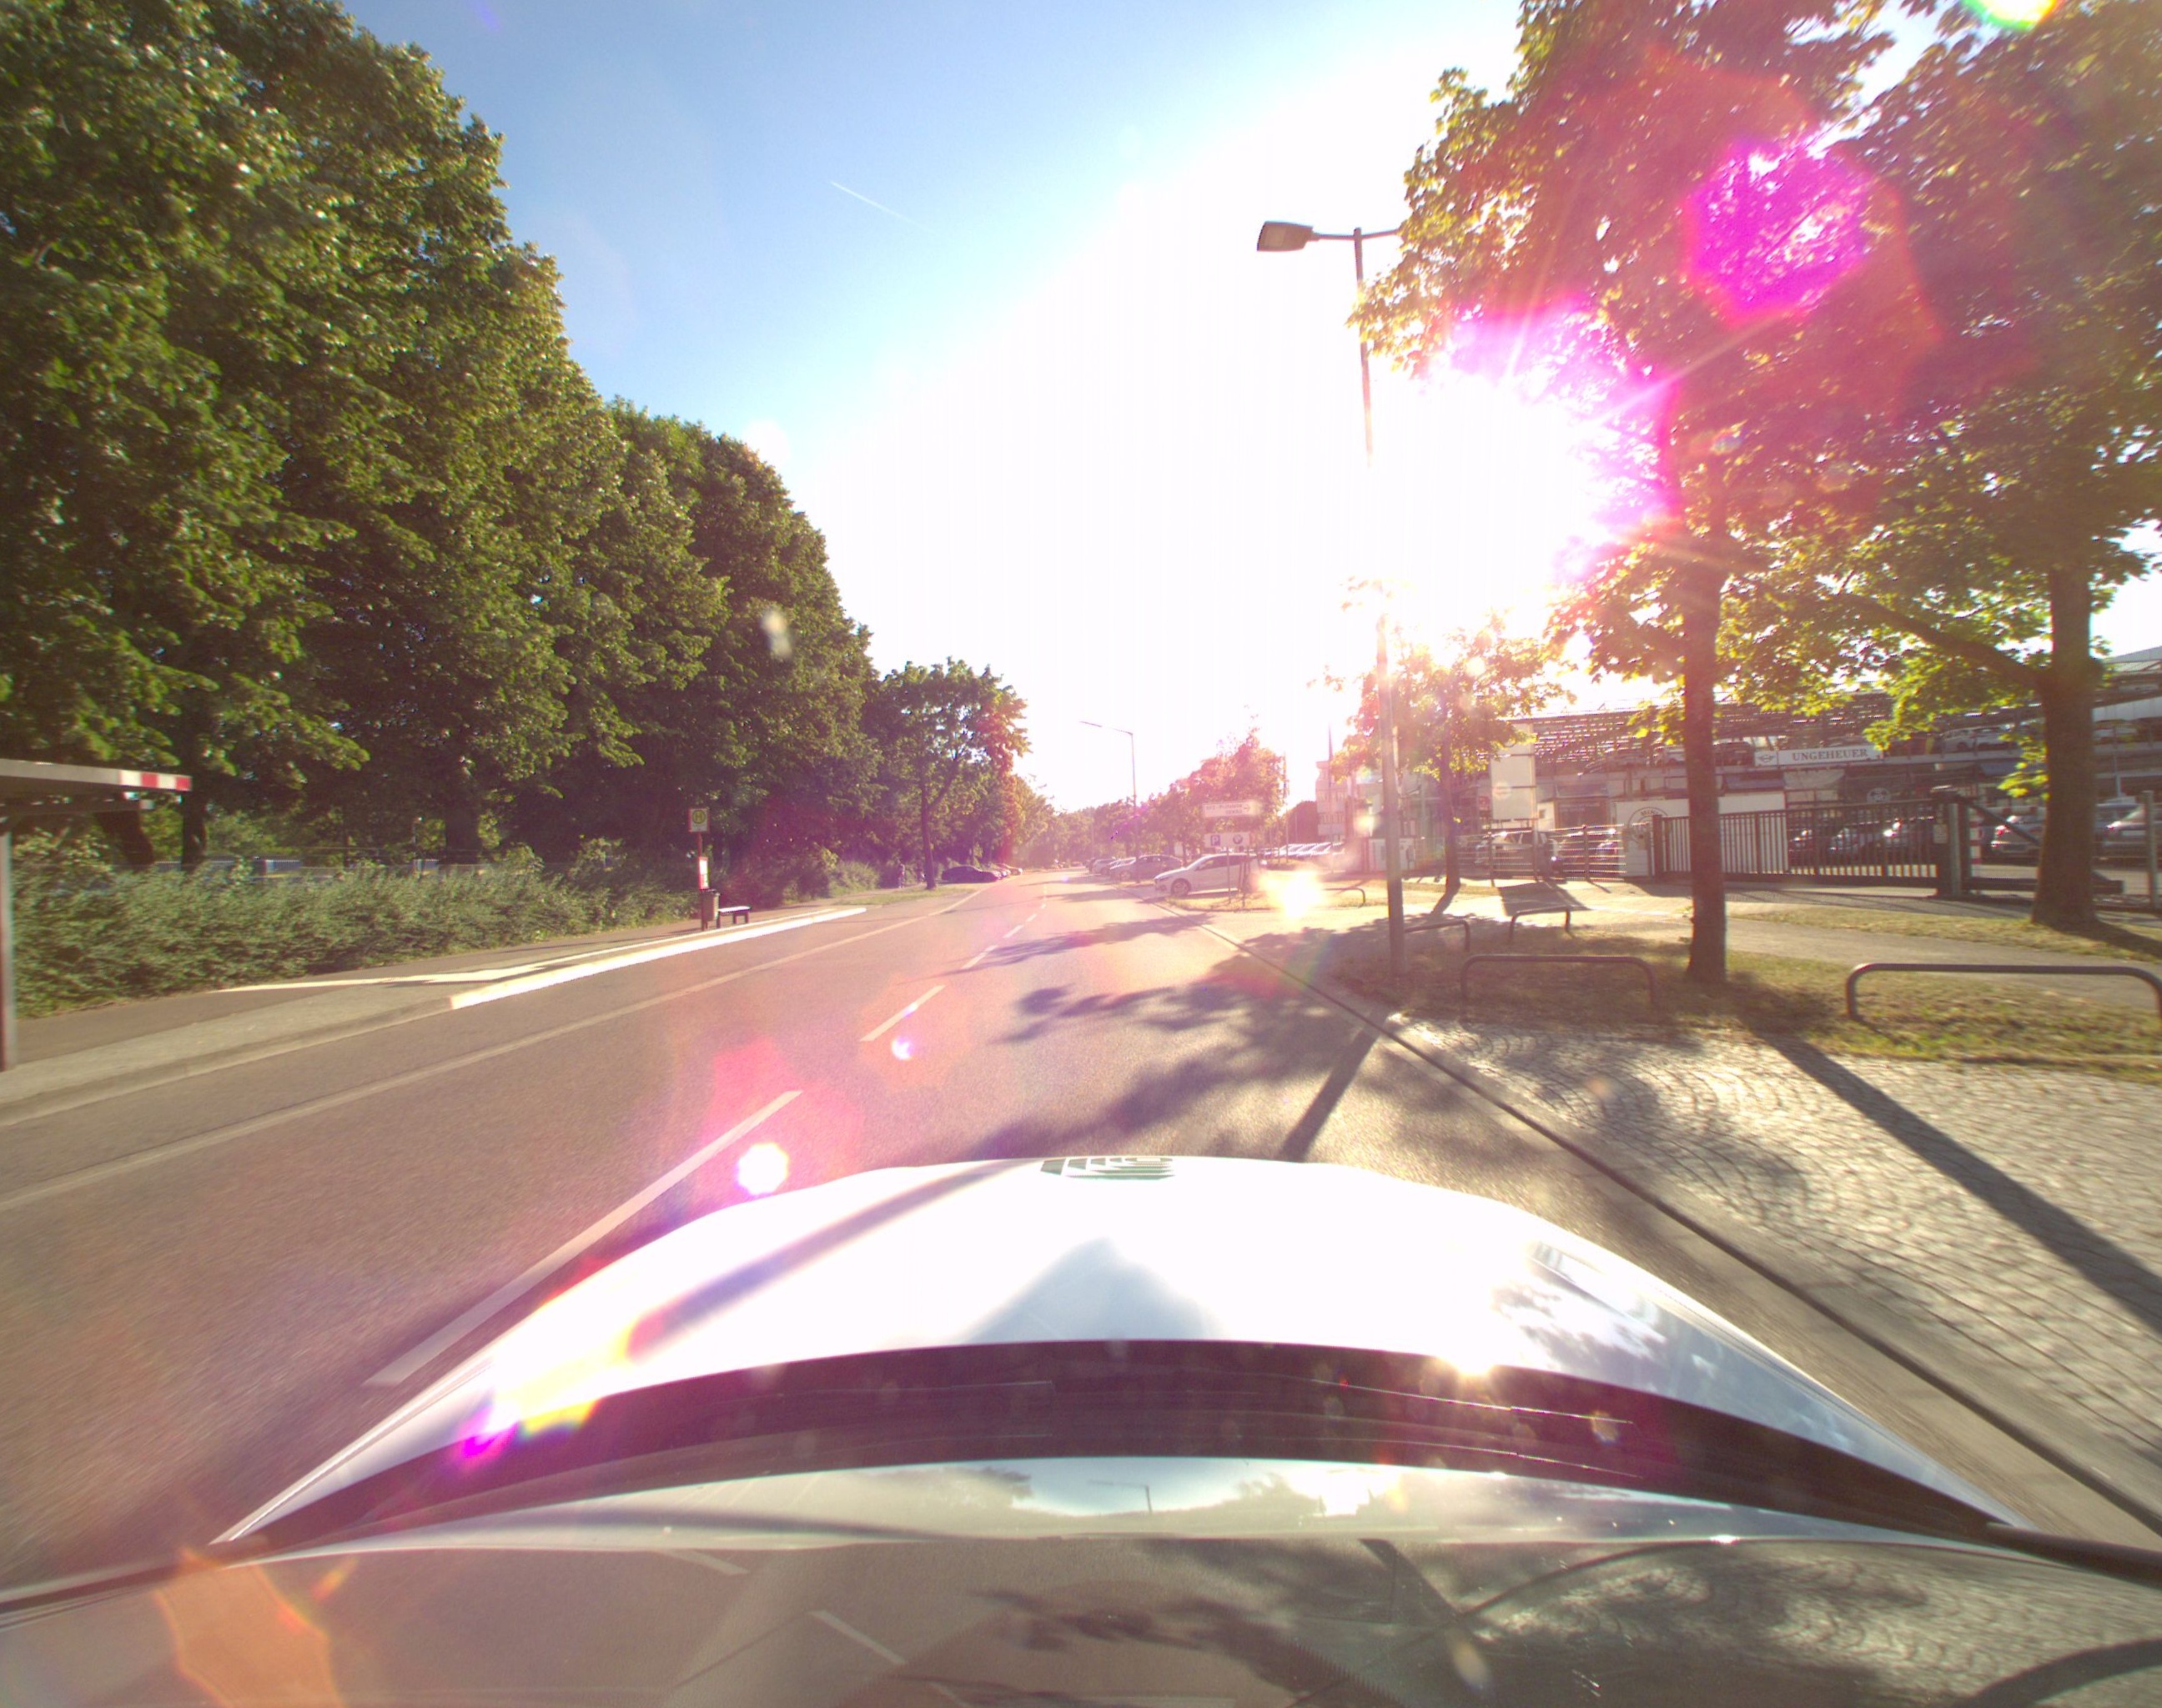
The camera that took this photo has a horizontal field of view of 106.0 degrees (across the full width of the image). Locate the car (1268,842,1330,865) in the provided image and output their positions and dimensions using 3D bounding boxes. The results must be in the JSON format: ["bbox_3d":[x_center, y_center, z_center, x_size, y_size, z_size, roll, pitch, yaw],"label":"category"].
[{"bbox_3d":[17.361,-0.045,64.841,4.617,1.574,1.981,-3,0,-29],"label":"car"}]

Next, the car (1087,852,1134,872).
[{"bbox_3d":[3.083,0.832,84.139,4.675,1.751,2.193,-3,0,3],"label":"car"}]

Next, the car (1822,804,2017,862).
[{"bbox_3d":[27.540,-0.652,26.932,3.955,1.579,2.009,-3,-3,17],"label":"car"}]

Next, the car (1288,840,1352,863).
[{"bbox_3d":[18.411,-0.203,62.643,4.617,1.574,1.981,-3,0,-29],"label":"car"}]

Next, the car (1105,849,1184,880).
[{"bbox_3d":[3.910,0.653,50.773,4.583,1.584,1.997,-4,0,-5],"label":"car"}]

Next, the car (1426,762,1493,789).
[{"bbox_3d":[26.610,-5.532,57.351,3.960,1.666,1.793,0,0,12],"label":"car"}]

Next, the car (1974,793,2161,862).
[{"bbox_3d":[25.466,-0.676,20.240,3.957,1.530,1.932,-3,0,15],"label":"car"}]

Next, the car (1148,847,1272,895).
[{"bbox_3d":[4.806,0.637,30.779,4.190,1.444,2.085,-4,0,-4],"label":"car"}]

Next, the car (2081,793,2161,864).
[{"bbox_3d":[25.196,-0.649,17.697,3.957,1.530,1.932,-3,0,15],"label":"car"}]

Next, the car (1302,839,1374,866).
[{"bbox_3d":[17.478,-0.126,55.432,4.618,1.574,1.981,-3,0,-29],"label":"car"}]

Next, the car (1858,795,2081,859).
[{"bbox_3d":[26.823,-0.757,24.788,3.955,1.579,2.170,-3,-3,17],"label":"car"}]

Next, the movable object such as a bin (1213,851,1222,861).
[{"bbox_3d":[18.624,0.283,111.371,1.112,1.268,1.039,-2,0,5],"label":"movable object such as a bin"}]

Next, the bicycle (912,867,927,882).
[{"bbox_3d":[-12.433,1.571,62.769,0.763,1.039,2.216,-3,0,-1],"label":"bicycle"}]

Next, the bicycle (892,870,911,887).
[{"bbox_3d":[-12.185,1.645,55.374,0.763,1.039,2.216,-3,0,-1],"label":"bicycle"}]

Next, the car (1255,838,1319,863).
[{"bbox_3d":[17.144,-0.266,67.665,4.742,1.690,2.389,-4,0,-29],"label":"car"}]

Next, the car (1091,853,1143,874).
[{"bbox_3d":[3.376,0.853,76.658,4.683,1.479,1.999,-4,4,-2],"label":"car"}]

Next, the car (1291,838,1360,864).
[{"bbox_3d":[17.553,-0.234,58.388,4.616,1.574,1.982,-4,0,-27],"label":"car"}]

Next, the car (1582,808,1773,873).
[{"bbox_3d":[16.980,-0.348,23.440,3.955,1.578,2.009,-3,0,17],"label":"car"}]

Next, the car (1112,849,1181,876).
[{"bbox_3d":[4.392,0.546,55.061,4.365,1.479,1.998,-4,0,-2],"label":"car"}]

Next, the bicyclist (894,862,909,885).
[{"bbox_3d":[-12.180,1.296,55.187,0.729,1.530,0.950,-3,0,-2],"label":"bicyclist"}]

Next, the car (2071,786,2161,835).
[{"bbox_3d":[42.134,-1.756,31.784,3.958,1.741,2.008,-3,0,14],"label":"car"}]

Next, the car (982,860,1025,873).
[{"bbox_3d":[-9.413,1.544,98.806,5.021,1.462,1.999,-1,0,-2],"label":"car"}]

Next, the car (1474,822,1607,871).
[{"bbox_3d":[16.998,-0.263,30.351,3.955,1.578,2.009,-3,0,17],"label":"car"}]

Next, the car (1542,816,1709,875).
[{"bbox_3d":[17.157,-0.258,25.893,3.955,1.578,2.009,-3,0,17],"label":"car"}]

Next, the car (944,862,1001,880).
[{"bbox_3d":[-9.050,1.387,68.256,4.640,1.422,1.914,-1,0,-4],"label":"car"}]

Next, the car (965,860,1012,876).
[{"bbox_3d":[-9.241,1.374,81.605,4.467,1.531,1.999,-1,0,-2],"label":"car"}]

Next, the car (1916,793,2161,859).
[{"bbox_3d":[26.412,-0.741,22.650,3.955,1.530,1.933,-3,0,17],"label":"car"}]

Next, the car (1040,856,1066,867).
[{"bbox_3d":[-5.635,1.444,164.060,4.980,2.020,2.178,-2,0,5],"label":"car"}]

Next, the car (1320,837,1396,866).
[{"bbox_3d":[17.893,-0.161,52.537,4.617,1.666,1.981,-2,0,-29],"label":"car"}]

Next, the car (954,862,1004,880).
[{"bbox_3d":[-9.220,1.515,74.099,4.273,1.531,1.999,-1,0,-1],"label":"car"}]

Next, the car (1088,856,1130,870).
[{"bbox_3d":[3.090,0.985,90.236,4.469,1.404,2.032,-3,0,-2],"label":"car"}]

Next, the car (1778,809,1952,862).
[{"bbox_3d":[28.038,-0.622,29.296,3.955,1.579,2.009,-3,-3,17],"label":"car"}]

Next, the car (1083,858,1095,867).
[{"bbox_3d":[1.574,1.683,160.062,1.983,1.717,4.007,-2,0,6],"label":"car"}]

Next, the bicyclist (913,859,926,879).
[{"bbox_3d":[-12.426,1.150,62.616,0.729,1.530,0.950,-3,0,-2],"label":"bicyclist"}]

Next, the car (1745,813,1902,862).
[{"bbox_3d":[28.605,-0.606,31.527,3.955,1.579,2.009,-3,-3,17],"label":"car"}]

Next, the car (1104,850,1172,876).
[{"bbox_3d":[4.040,0.644,58.150,4.613,1.456,1.998,-4,0,-2],"label":"car"}]

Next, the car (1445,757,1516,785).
[{"bbox_3d":[26.564,-5.510,54.252,3.960,1.666,1.793,0,0,12],"label":"car"}]

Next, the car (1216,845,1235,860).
[{"bbox_3d":[19.020,-0.193,106.967,2.016,1.828,4.996,-3,0,15],"label":"car"}]
